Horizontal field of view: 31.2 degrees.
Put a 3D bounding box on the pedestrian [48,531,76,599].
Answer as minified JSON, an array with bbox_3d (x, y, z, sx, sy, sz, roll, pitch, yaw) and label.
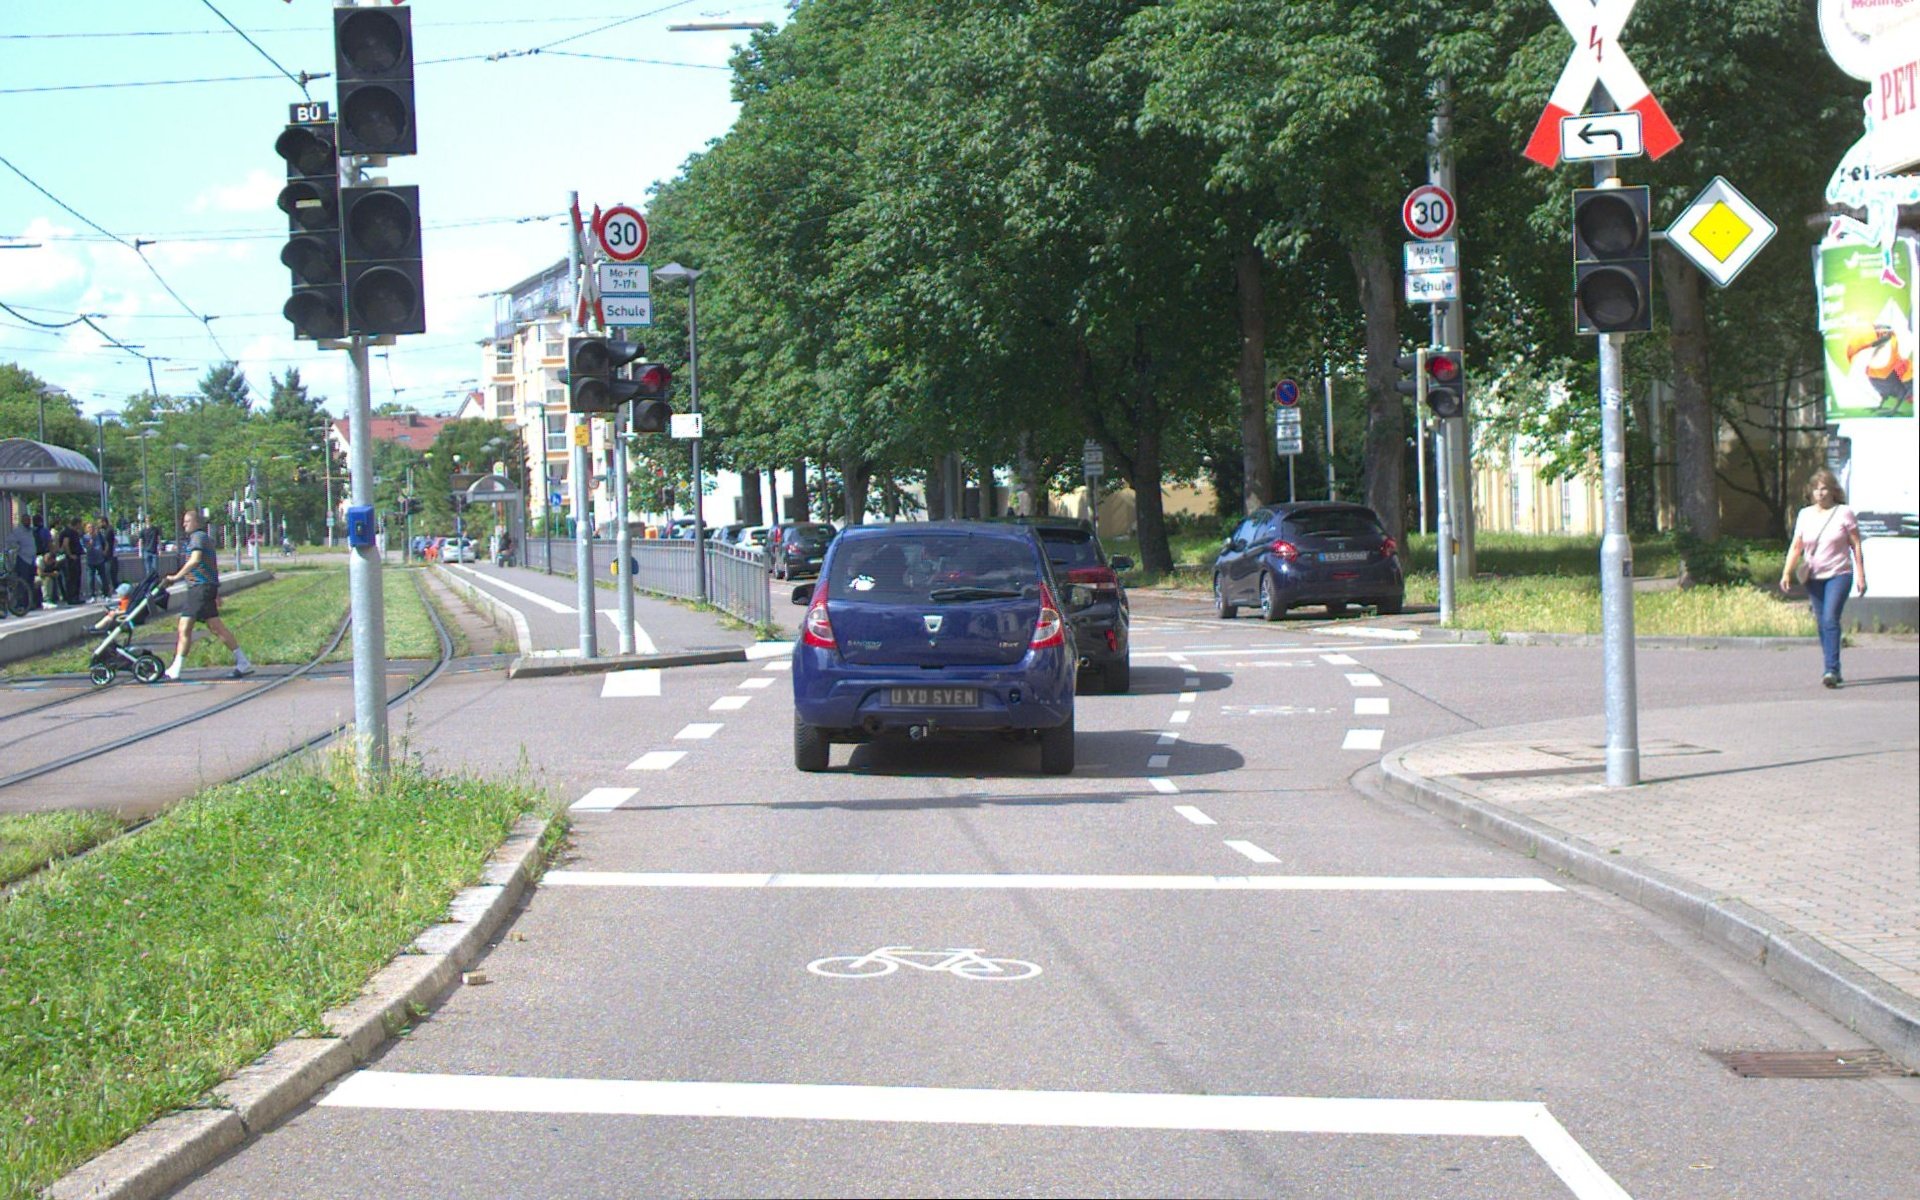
[{"bbox_3d":[-19.345,-0.761,74.067,0.488,1.447,0.464,-3,1,-18],"label":"pedestrian"}]

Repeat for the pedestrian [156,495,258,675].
[{"bbox_3d":[-7.701,-0.158,35.194,0.870,1.769,1.004,-4,1,-9],"label":"pedestrian"}]

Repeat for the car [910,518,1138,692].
[{"bbox_3d":[0.490,0.001,29.249,1.700,1.363,3.515,0,2,-3],"label":"car"}]

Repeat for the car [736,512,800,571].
[{"bbox_3d":[-5.981,-1.836,106.778,1.617,1.744,4.001,-2,1,-8],"label":"car"}]

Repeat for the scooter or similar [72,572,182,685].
[{"bbox_3d":[-8.415,0.279,34.761,0.954,1.061,0.797,-4,2,-9],"label":"scooter or similar"}]

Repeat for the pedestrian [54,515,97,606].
[{"bbox_3d":[-17.359,-0.787,67.467,0.604,1.760,0.639,-2,1,1],"label":"pedestrian"}]

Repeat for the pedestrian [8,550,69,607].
[{"bbox_3d":[-17.010,-0.398,63.497,0.924,0.985,0.797,-3,0,-6],"label":"pedestrian"}]

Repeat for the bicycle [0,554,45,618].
[{"bbox_3d":[-15.463,-0.213,55.719,0.686,0.971,1.771,-4,2,1],"label":"bicycle"}]

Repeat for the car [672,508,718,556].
[{"bbox_3d":[-10.130,-2.603,131.414,1.667,1.765,4.001,-2,1,-5],"label":"car"}]

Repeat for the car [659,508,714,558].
[{"bbox_3d":[-9.946,-2.452,125.295,1.830,1.755,4.001,-2,1,-3],"label":"car"}]

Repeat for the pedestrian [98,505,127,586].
[{"bbox_3d":[-18.245,-1.171,73.972,0.488,1.706,0.464,-3,1,-18],"label":"pedestrian"}]

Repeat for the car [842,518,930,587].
[{"bbox_3d":[-1.752,-1.138,80.388,1.851,1.510,4.001,-2,1,-3],"label":"car"}]

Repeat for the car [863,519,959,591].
[{"bbox_3d":[-1.106,-1.008,75.890,1.861,1.440,4.001,-4,2,-3],"label":"car"}]

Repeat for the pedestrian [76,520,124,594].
[{"bbox_3d":[-17.039,-0.847,68.123,0.655,1.421,0.562,-2,2,29],"label":"pedestrian"}]

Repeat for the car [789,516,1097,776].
[{"bbox_3d":[-0.127,0.222,21.774,1.768,1.457,3.776,-1,2,-1],"label":"car"}]

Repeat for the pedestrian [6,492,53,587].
[{"bbox_3d":[-16.792,-1.097,62.064,0.655,1.686,0.656,-3,1,-8],"label":"pedestrian"}]

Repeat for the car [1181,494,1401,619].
[{"bbox_3d":[4.126,-0.561,43.470,1.765,1.428,3.905,-3,2,-9],"label":"car"}]

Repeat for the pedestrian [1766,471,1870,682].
[{"bbox_3d":[6.878,-0.194,27.535,0.673,1.642,0.763,-2,1,20],"label":"pedestrian"}]

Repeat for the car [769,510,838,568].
[{"bbox_3d":[-4.493,-1.750,98.290,1.827,1.532,4.001,-3,2,-3],"label":"car"}]

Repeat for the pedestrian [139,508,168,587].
[{"bbox_3d":[-20.989,-1.365,89.452,0.660,2.007,0.804,-2,1,-14],"label":"pedestrian"}]
